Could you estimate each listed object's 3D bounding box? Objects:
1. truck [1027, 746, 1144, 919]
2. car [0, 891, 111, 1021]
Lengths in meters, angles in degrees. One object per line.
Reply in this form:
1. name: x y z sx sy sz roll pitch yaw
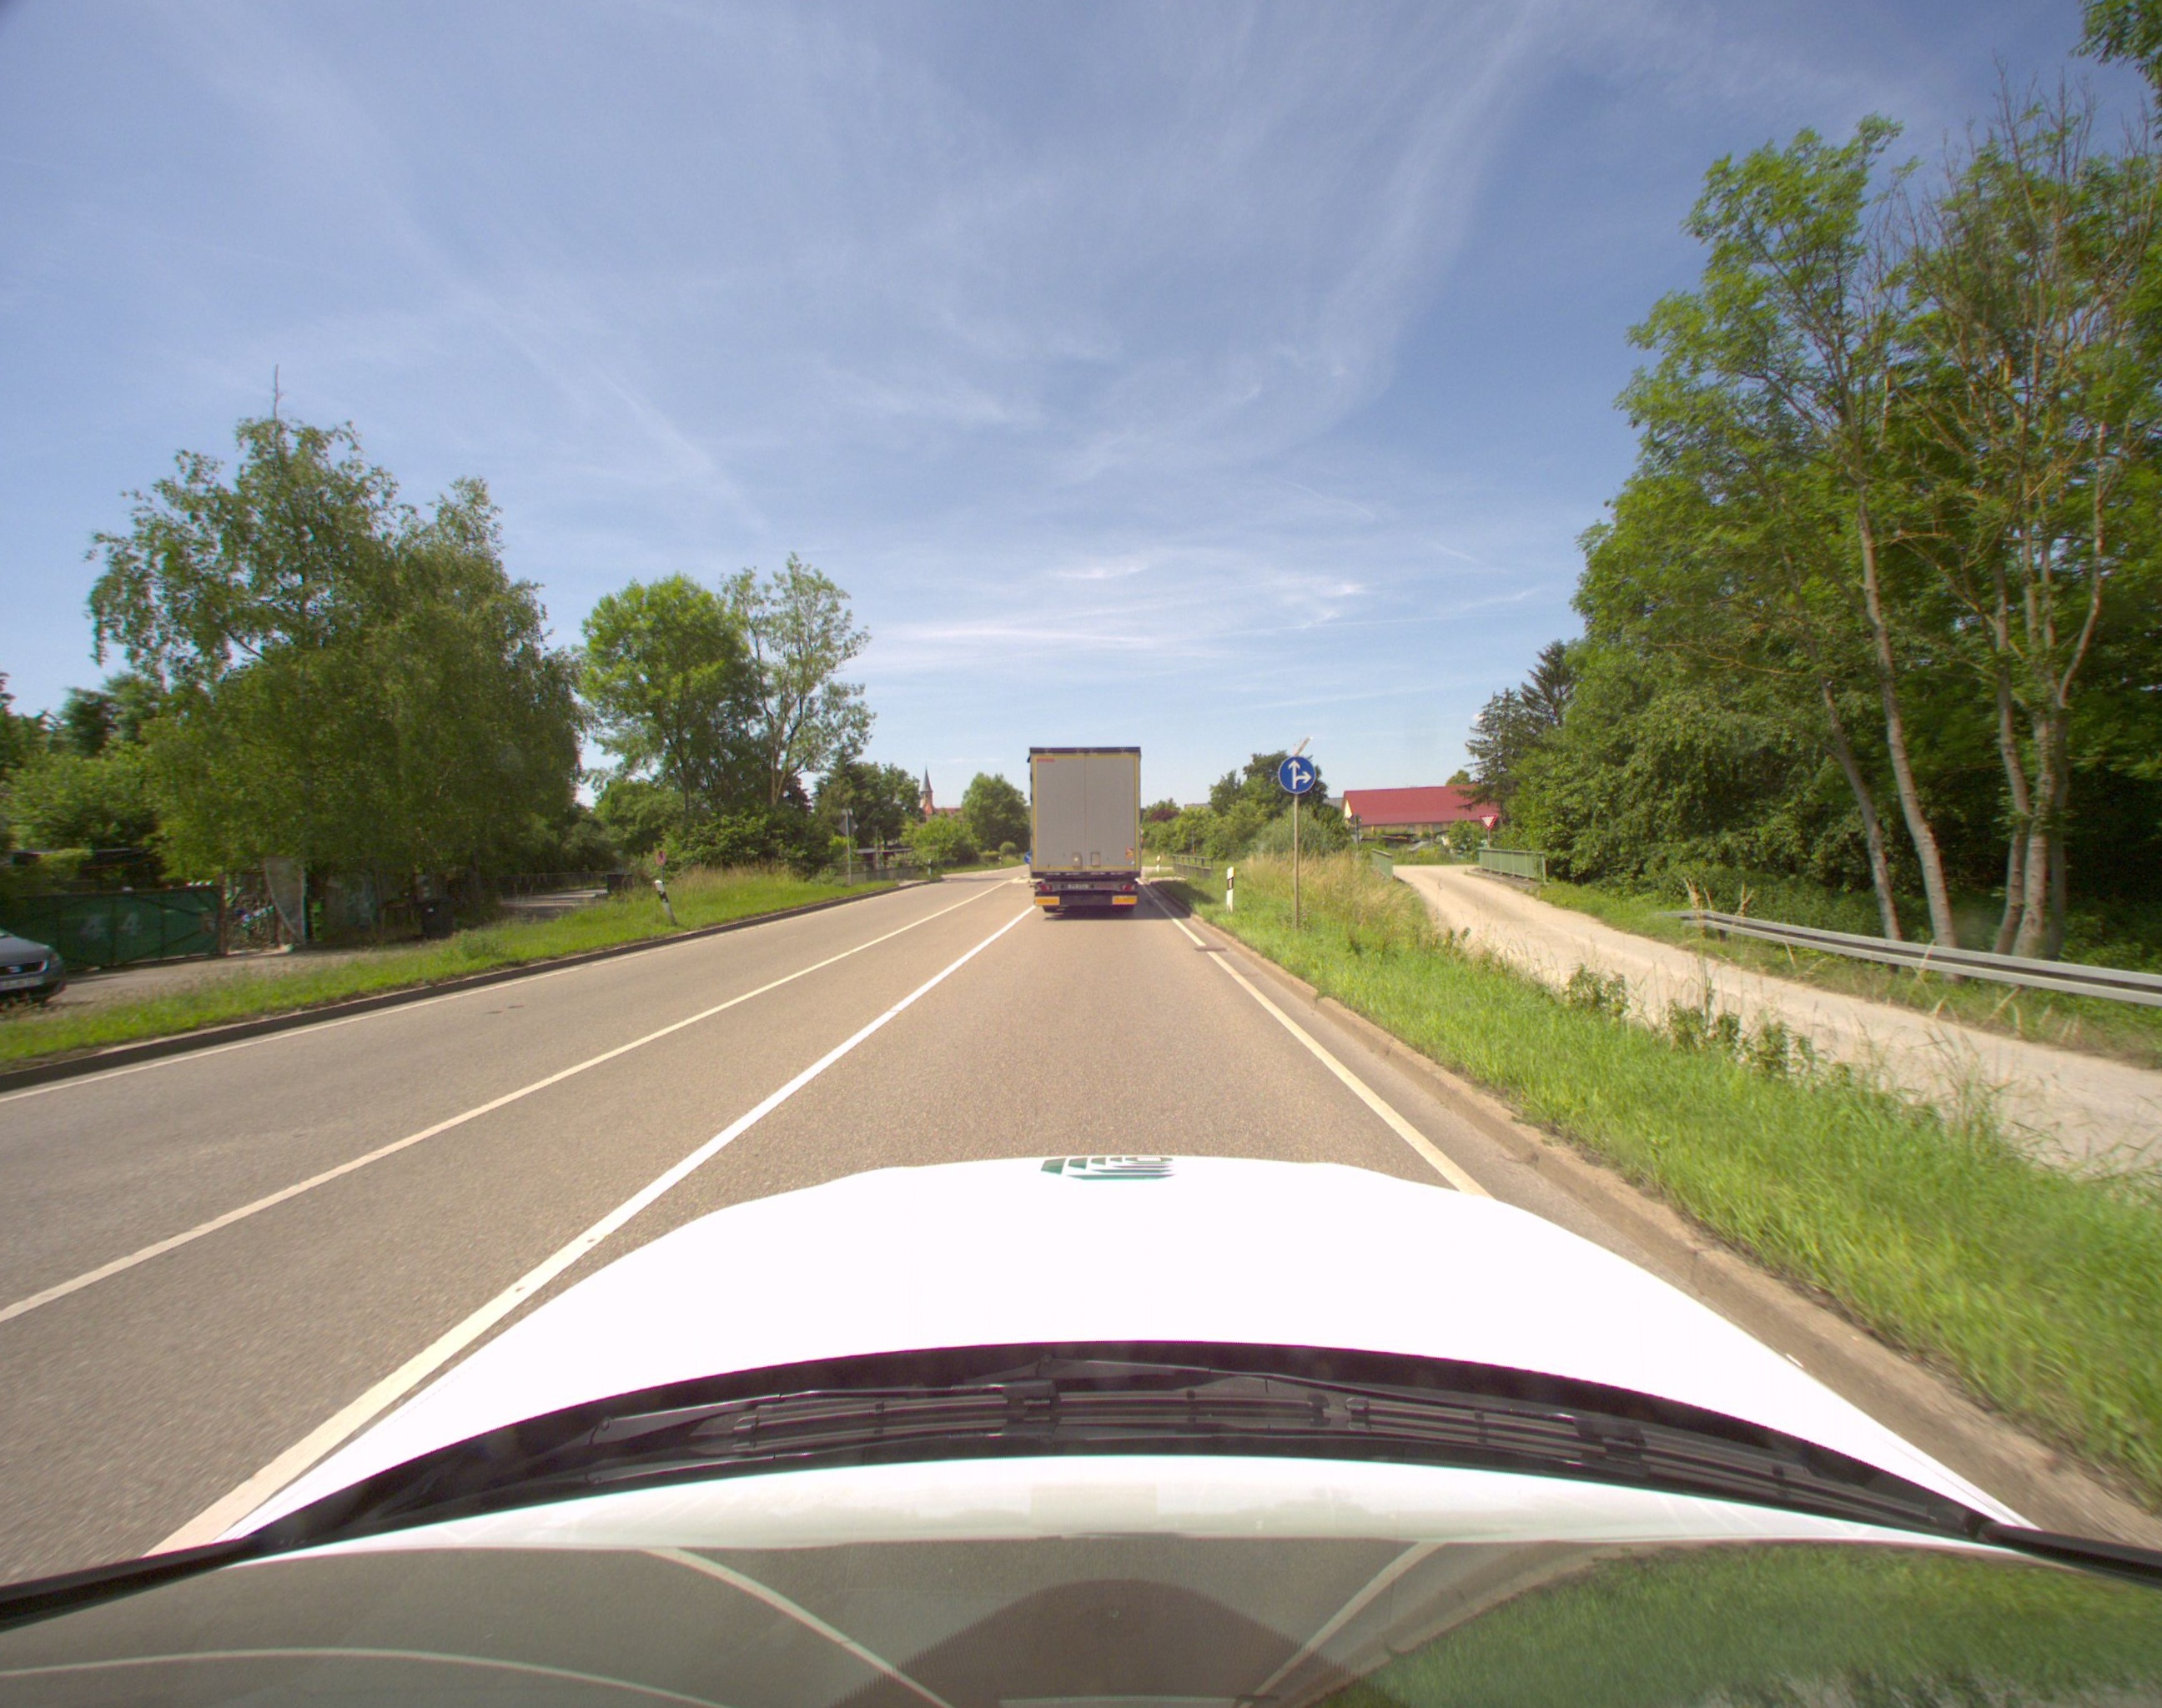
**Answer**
1. truck: 0.136 -0.498 22.975 2.639 3.917 8.824 -1 0 0
2. car: -17.465 1.501 11.640 4.653 1.720 1.860 -1 2 -3
